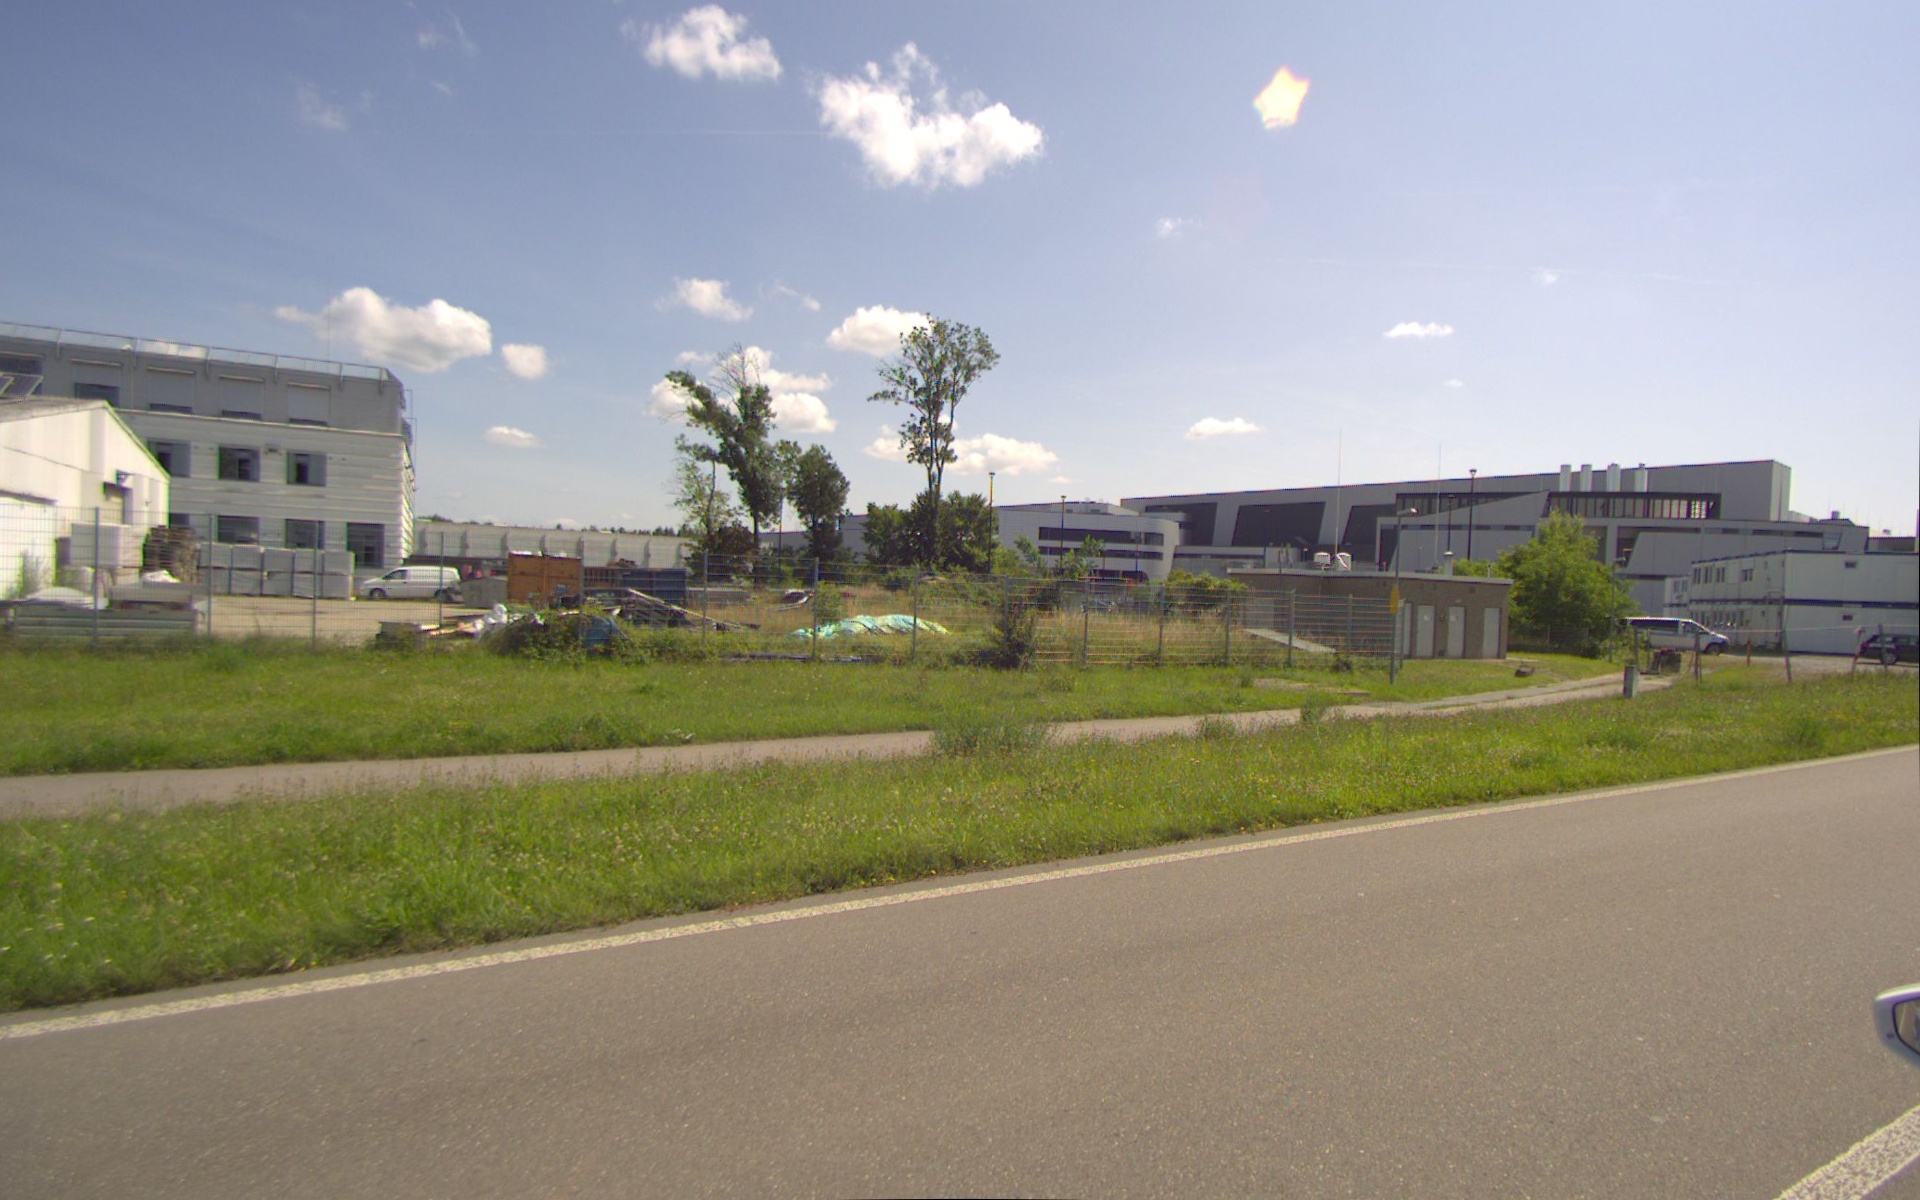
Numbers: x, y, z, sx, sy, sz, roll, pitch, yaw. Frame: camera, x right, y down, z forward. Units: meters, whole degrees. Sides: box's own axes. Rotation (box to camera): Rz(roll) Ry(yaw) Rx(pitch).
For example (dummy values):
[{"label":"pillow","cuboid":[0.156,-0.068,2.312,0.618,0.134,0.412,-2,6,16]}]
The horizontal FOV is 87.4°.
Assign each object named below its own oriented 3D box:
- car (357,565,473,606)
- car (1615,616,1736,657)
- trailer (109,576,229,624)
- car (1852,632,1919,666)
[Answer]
[{"label":"car","cuboid":[-29.645,-0.785,54.732,5.464,2.038,1.733,2,1,-31]},{"label":"car","cuboid":[38.703,1.946,54.492,4.924,1.892,1.999,3,1,22]},{"label":"trailer","cuboid":[-21.804,-0.014,27.862,1.880,1.182,3.971,2,0,-28]},{"label":"car","cuboid":[45.042,2.337,46.987,4.912,1.436,1.990,2,1,42]}]
